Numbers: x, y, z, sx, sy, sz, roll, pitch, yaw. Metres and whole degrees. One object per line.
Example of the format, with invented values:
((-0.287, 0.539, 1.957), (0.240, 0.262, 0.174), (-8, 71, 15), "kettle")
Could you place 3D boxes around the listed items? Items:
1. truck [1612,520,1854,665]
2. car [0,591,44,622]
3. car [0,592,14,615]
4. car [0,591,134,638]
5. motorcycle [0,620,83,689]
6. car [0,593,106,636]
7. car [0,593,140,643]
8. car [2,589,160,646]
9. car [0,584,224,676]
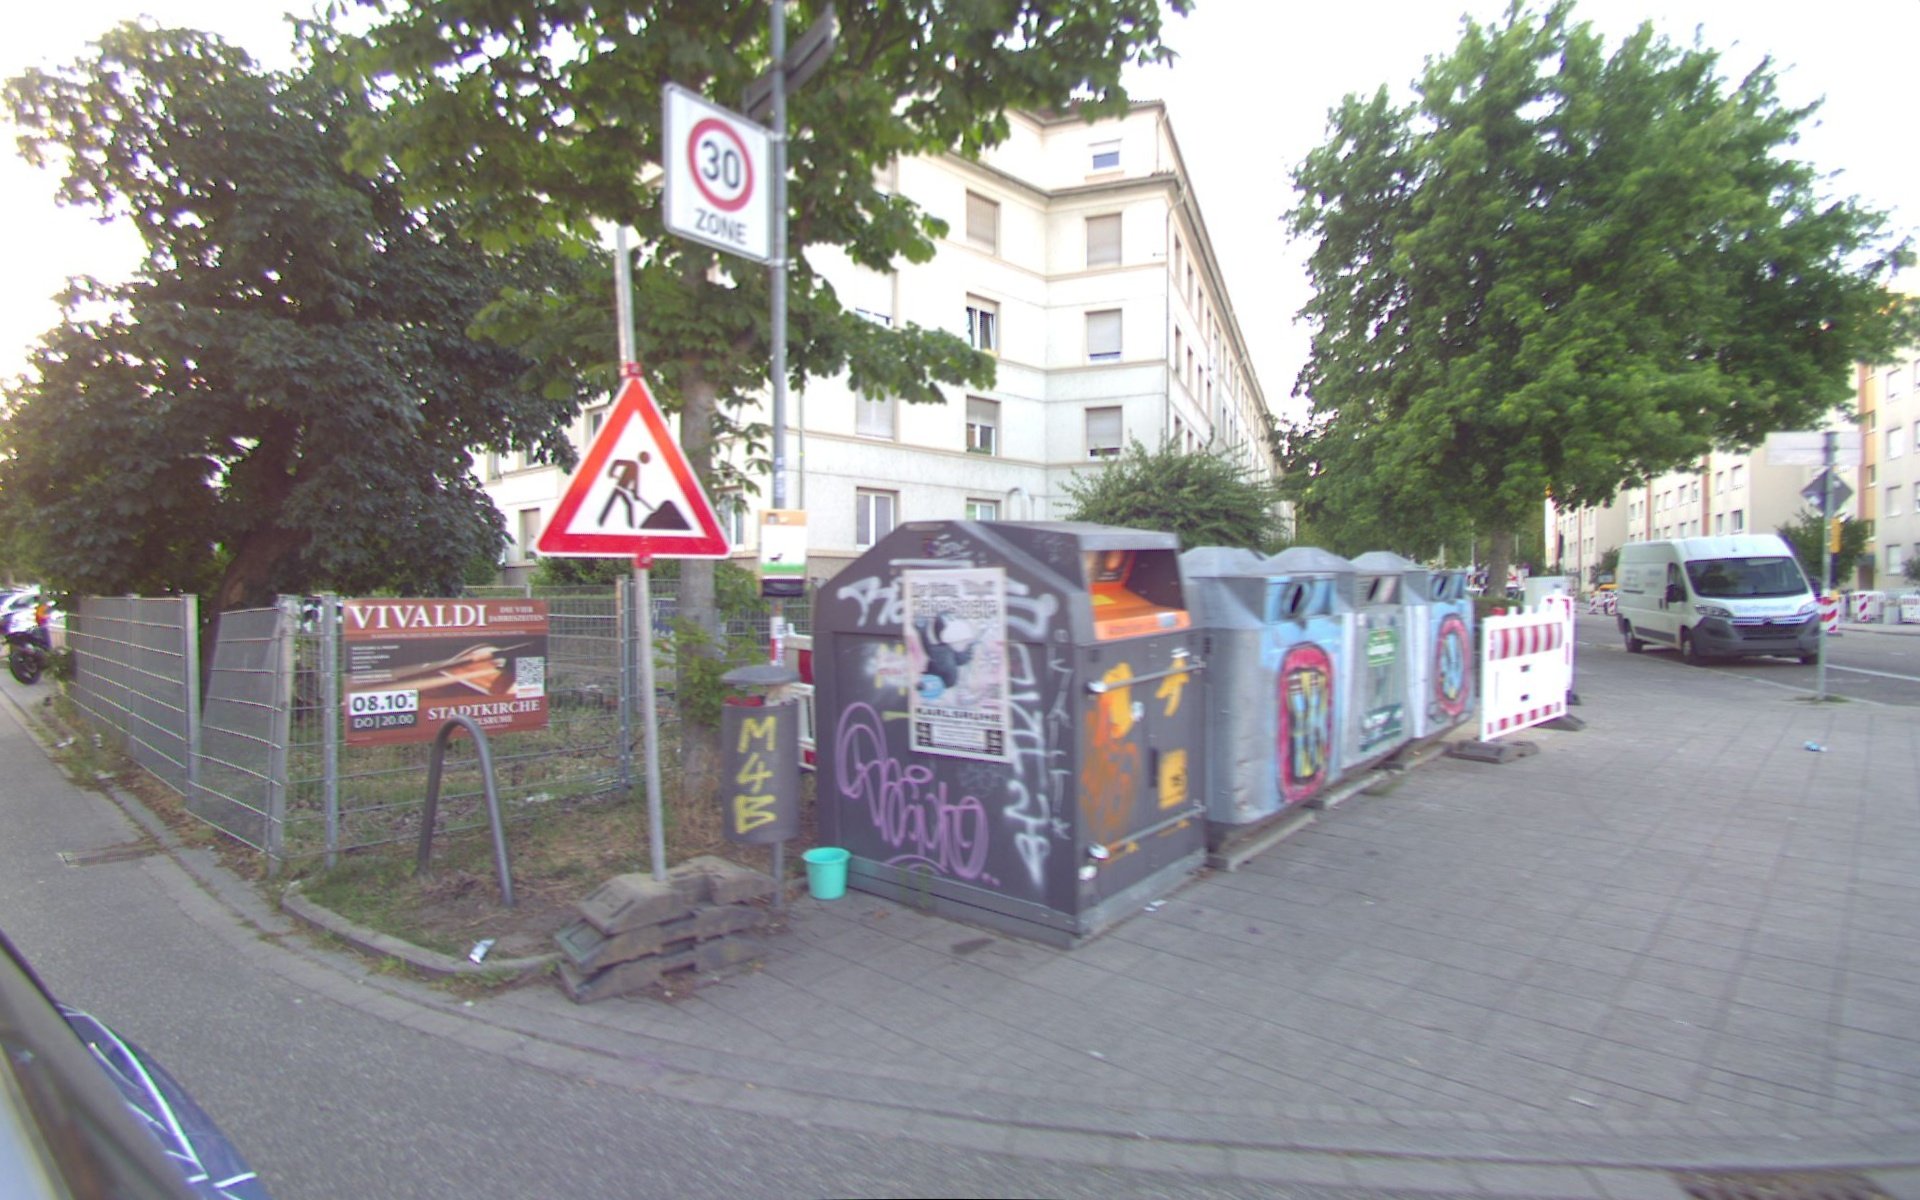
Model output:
((15.159, -0.124, 20.345), (2.092, 2.441, 6.005), (-2, 0, 20), "truck")
((-48.708, 0.363, 50.934), (1.727, 1.495, 3.661), (-1, 2, 41), "car")
((-90.284, 0.360, 93.032), (4.717, 2.085, 2.002), (-1, 0, -42), "car")
((-32.238, 0.470, 36.497), (3.635, 1.495, 1.729), (-3, 3, -45), "car")
((-16.308, 0.937, 17.743), (0.530, 1.028, 2.218), (-3, 3, -18), "motorcycle")
((-34.482, 0.526, 37.914), (1.729, 1.456, 3.635), (1, 3, 45), "car")
((-30.279, 0.565, 34.122), (1.729, 1.500, 3.932), (1, 3, 45), "car")
((-27.293, 0.490, 31.507), (1.726, 1.577, 3.441), (1, 2, 38), "car")
((-17.818, 0.555, 21.174), (1.693, 1.568, 3.585), (0, 4, 43), "car")
